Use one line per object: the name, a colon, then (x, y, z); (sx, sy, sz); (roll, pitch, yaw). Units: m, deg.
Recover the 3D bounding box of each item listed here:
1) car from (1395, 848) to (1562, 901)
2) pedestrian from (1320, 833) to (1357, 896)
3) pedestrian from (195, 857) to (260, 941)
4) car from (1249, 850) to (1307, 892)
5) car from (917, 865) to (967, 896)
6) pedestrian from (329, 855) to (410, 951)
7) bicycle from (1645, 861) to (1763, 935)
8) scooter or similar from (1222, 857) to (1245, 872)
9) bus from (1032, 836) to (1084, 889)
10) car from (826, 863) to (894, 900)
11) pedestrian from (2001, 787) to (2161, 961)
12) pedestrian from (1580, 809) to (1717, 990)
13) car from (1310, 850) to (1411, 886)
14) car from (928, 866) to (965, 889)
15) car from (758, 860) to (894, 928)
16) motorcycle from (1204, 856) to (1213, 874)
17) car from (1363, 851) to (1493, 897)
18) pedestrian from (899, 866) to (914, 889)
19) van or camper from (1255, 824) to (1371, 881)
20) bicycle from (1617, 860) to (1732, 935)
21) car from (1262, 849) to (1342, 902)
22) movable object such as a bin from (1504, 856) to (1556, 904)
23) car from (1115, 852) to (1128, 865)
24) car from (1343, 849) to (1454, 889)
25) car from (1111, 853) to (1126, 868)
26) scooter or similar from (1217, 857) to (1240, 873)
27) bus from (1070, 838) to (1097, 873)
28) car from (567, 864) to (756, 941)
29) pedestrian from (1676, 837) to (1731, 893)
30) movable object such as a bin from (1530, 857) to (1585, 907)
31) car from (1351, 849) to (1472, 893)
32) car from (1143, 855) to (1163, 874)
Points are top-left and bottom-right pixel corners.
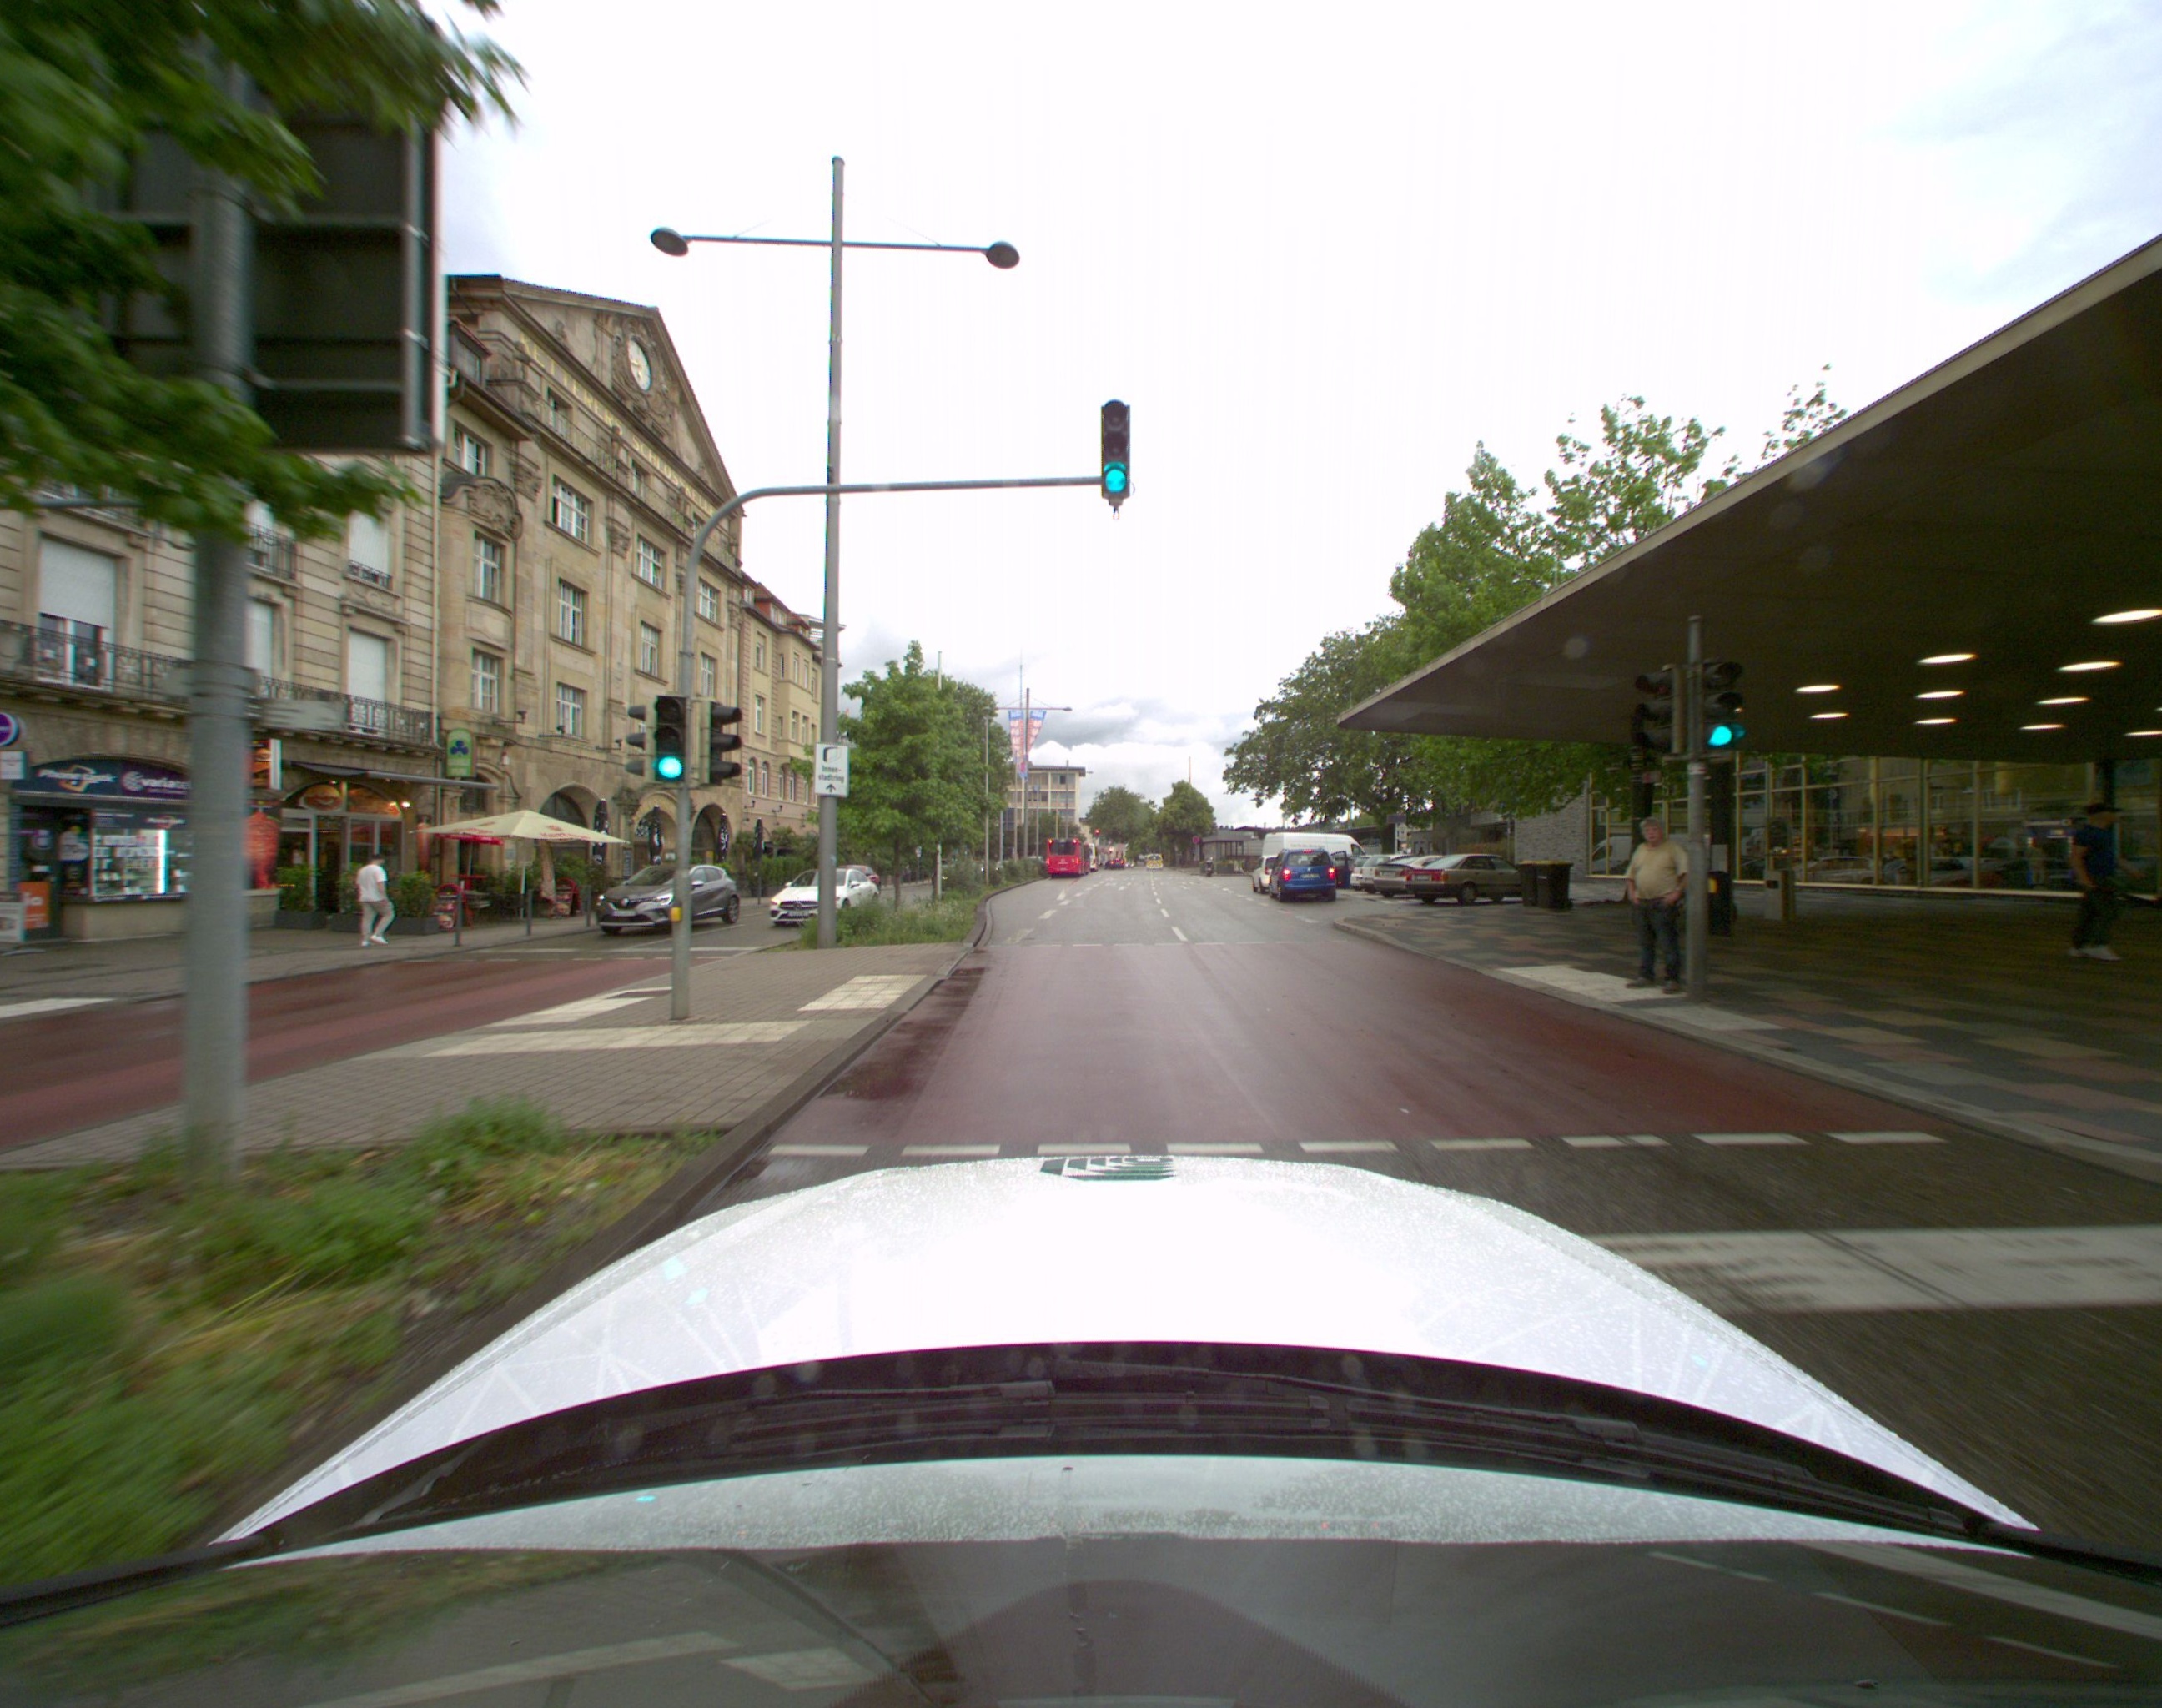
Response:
car: (11.292, 0.558, 23.182); (4.197, 1.325, 1.829); (-1, -1, -18)
pedestrian: (8.455, 0.345, 26.783); (0.829, 2.013, 0.888); (-2, -1, -3)
pedestrian: (-17.426, 0.905, 16.632); (0.666, 1.664, 0.535); (2, -1, -7)
car: (7.770, 0.656, 32.341); (1.778, 1.523, 3.688); (-1, -1, 7)
car: (-7.240, 1.371, 42.660); (1.740, 1.430, 3.955); (-3, 0, 2)
pedestrian: (-13.994, 0.948, 16.034); (0.876, 1.813, 0.751); (-2, -1, 1)
bicycle: (9.519, 0.653, 12.438); (1.831, 1.056, 0.418); (-1, -1, -17)
scooter or similar: (11.786, 0.823, 62.894); (2.161, 1.110, 0.438); (-2, 0, -38)
bus: (-1.797, 0.665, 69.235); (3.531, 3.979, 11.175); (-3, 0, 2)
car: (-9.790, 1.183, 36.383); (1.740, 1.430, 3.955); (-3, 0, 2)
pedestrian: (11.582, 0.212, 9.242); (0.853, 1.835, 1.190); (-2, -1, 1)
pedestrian: (5.818, 0.445, 8.399); (0.745, 1.747, 0.834); (-2, -1, -6)
car: (12.146, 0.604, 35.384); (4.006, 1.443, 1.849); (-1, -1, -25)
car: (-9.465, 1.650, 57.426); (1.740, 1.430, 3.955); (-3, 0, 2)
car: (-6.717, 0.991, 22.053); (1.986, 1.543, 4.635); (-3, 0, 2)
motorcycle: (9.480, 0.799, 60.595); (0.592, 1.288, 1.957); (-2, 0, 8)
car: (11.441, 0.625, 26.846); (4.011, 1.359, 1.847); (-1, -1, -29)
pedestrian: (-14.640, 1.999, 68.413); (0.848, 1.900, 0.943); (-2, -1, -35)
van or camper: (12.454, -0.077, 43.639); (5.977, 2.763, 2.180); (-2, -1, -26)
bicycle: (9.387, 0.670, 12.877); (1.831, 1.056, 0.418); (-2, -1, -17)
car: (7.051, 0.669, 26.396); (1.849, 1.569, 4.006); (-1, -1, 6)
movable object such as a bin: (10.721, 0.615, 19.450); (0.751, 1.095, 0.746); (-2, -1, -10)
car: (6.452, 0.698, 129.618); (1.986, 2.013, 4.002); (-3, 0, 2)
car: (12.699, 0.586, 32.580); (4.006, 1.443, 1.849); (-1, -1, -25)
car: (5.219, 0.889, 114.115); (1.986, 2.013, 4.002); (-3, 0, 2)
scooter or similar: (11.457, 0.843, 63.268); (2.161, 1.110, 0.423); (-2, 0, -38)
bus: (0.292, 0.187, 95.010); (2.796, 3.746, 10.444); (-2, 0, 0)
car: (-9.933, 1.063, 19.785); (1.986, 1.543, 4.635); (-3, 0, 2)
pedestrian: (17.859, 0.315, 23.379); (0.864, 1.559, 0.813); (-2, -1, -5)
movable object such as a bin: (10.709, 0.618, 18.320); (0.750, 1.067, 0.747); (-2, -1, -7)
car: (12.028, 0.605, 29.620); (4.006, 1.443, 1.849); (-1, -1, -25)
car: (8.379, 1.190, 94.962); (1.986, 2.013, 5.063); (-3, 0, 1)
